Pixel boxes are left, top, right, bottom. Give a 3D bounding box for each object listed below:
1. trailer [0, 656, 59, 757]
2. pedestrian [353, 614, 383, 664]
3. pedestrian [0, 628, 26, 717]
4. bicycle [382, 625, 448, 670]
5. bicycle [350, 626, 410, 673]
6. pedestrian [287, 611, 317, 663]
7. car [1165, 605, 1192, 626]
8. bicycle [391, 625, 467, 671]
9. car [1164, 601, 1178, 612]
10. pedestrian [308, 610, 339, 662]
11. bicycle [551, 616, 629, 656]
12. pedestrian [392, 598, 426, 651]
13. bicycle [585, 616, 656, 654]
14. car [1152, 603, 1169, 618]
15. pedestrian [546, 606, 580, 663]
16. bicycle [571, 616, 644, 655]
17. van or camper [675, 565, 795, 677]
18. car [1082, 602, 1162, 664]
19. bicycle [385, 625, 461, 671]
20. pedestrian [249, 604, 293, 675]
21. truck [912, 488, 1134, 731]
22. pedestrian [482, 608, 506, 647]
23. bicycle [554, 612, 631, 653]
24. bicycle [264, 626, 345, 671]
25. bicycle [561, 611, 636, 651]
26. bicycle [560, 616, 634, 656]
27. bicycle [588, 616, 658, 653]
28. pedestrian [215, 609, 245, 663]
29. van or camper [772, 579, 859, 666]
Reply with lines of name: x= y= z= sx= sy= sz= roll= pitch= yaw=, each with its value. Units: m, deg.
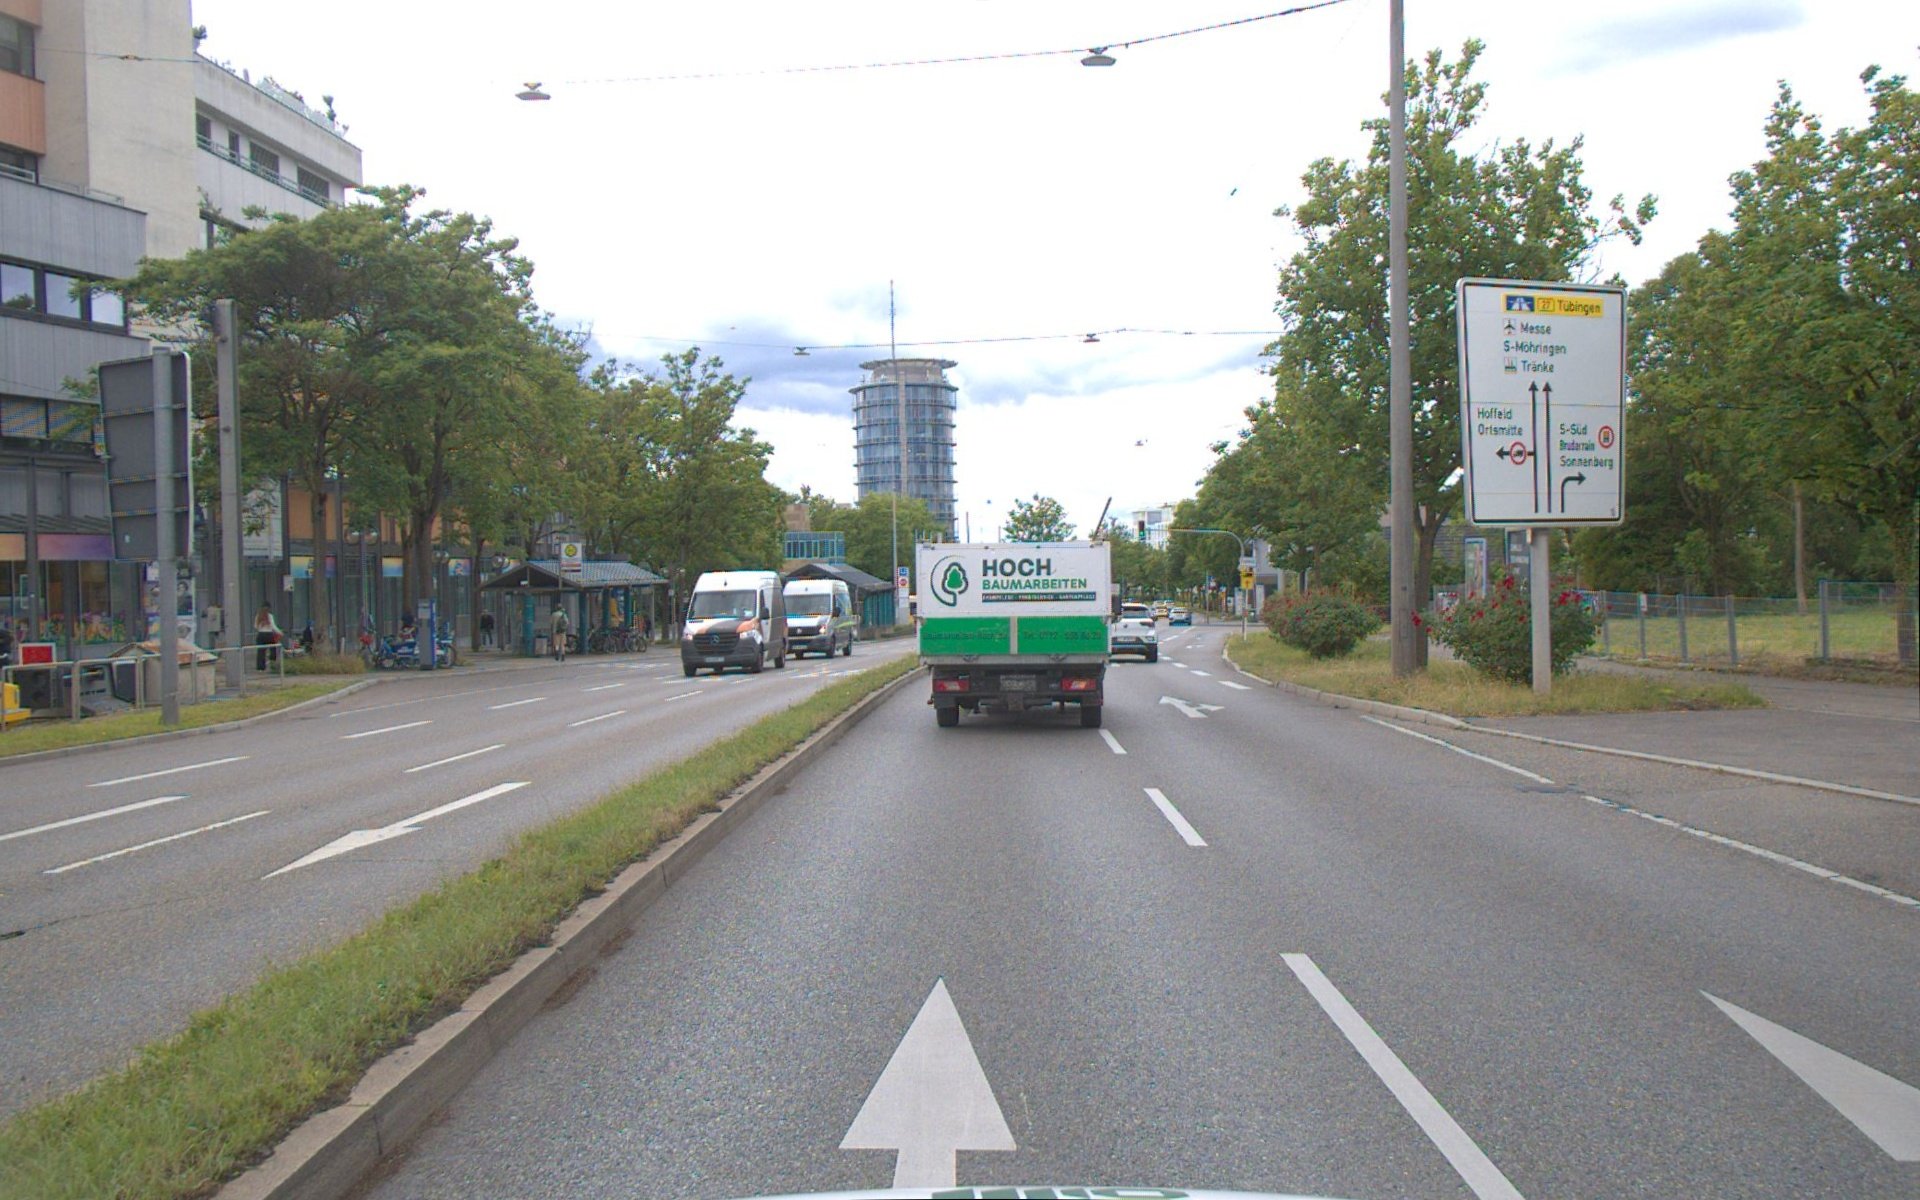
trailer: x=-14.635 y=1.565 z=18.614 sx=2.784 sy=1.356 sz=12.120 roll=-2 pitch=0 yaw=-2
pedestrian: x=-21.133 y=1.379 z=59.078 sx=0.754 sy=1.746 sz=0.790 roll=1 pitch=-1 yaw=1
pedestrian: x=-17.580 y=1.324 z=30.257 sx=0.586 sy=1.601 sz=0.620 roll=-2 pitch=0 yaw=-1
bicycle: x=-15.401 y=1.332 z=46.754 sx=0.593 sy=1.181 sz=1.681 roll=-2 pitch=0 yaw=40
bicycle: x=-15.897 y=1.348 z=45.374 sx=0.590 sy=1.181 sz=1.967 roll=-2 pitch=0 yaw=13
pedestrian: x=-20.760 y=1.164 z=52.193 sx=0.619 sy=1.628 sz=0.623 roll=0 pitch=0 yaw=6
car: x=17.421 y=1.241 z=132.031 sx=1.951 sy=1.579 sz=4.003 roll=-2 pitch=-1 yaw=6
bicycle: x=-14.364 y=1.287 z=44.775 sx=0.594 sy=1.181 sz=1.953 roll=1 pitch=0 yaw=41
car: x=31.688 y=1.000 z=248.522 sx=1.951 sy=1.579 sz=4.003 roll=-2 pitch=-1 yaw=6
pedestrian: x=-19.997 y=1.140 z=51.980 sx=0.652 sy=1.611 sz=0.707 roll=1 pitch=-1 yaw=4
bicycle: x=-14.565 y=1.412 z=65.205 sx=2.839 sy=1.533 sz=0.972 roll=0 pitch=0 yaw=1
pedestrian: x=-18.514 y=0.827 z=55.576 sx=0.758 sy=1.746 sz=0.786 roll=0 pitch=-1 yaw=27
bicycle: x=-14.462 y=1.482 z=70.454 sx=2.839 sy=1.533 sz=0.700 roll=-2 pitch=-1 yaw=1
car: x=23.081 y=1.224 z=190.502 sx=1.951 sy=1.579 sz=4.003 roll=-2 pitch=-1 yaw=6
pedestrian: x=-13.123 y=1.151 z=54.708 sx=0.689 sy=1.854 sz=1.214 roll=0 pitch=-1 yaw=6
bicycle: x=-14.646 y=1.482 z=68.747 sx=2.839 sy=1.533 sz=0.806 roll=-2 pitch=-1 yaw=1
van or camper: x=-5.802 y=0.512 z=43.495 sx=1.952 sy=2.643 sz=6.118 roll=-3 pitch=0 yaw=2
car: x=4.439 y=0.874 z=45.918 sx=1.829 sy=1.531 sz=4.774 roll=-1 pitch=1 yaw=1
bicycle: x=-14.773 y=1.315 z=45.547 sx=0.594 sy=1.181 sz=1.954 roll=-2 pitch=0 yaw=41
pedestrian: x=-17.391 y=0.990 z=41.755 sx=0.759 sy=1.743 sz=0.707 roll=1 pitch=-1 yaw=3
truck: x=0.931 y=0.072 z=21.377 sx=2.419 sy=2.657 sz=6.551 roll=0 pitch=1 yaw=4
pedestrian: x=-21.152 y=1.250 z=75.096 sx=0.754 sy=1.746 sz=0.822 roll=1 pitch=-1 yaw=4
bicycle: x=-14.732 y=1.286 z=66.274 sx=2.839 sy=1.533 sz=0.891 roll=-2 pitch=0 yaw=1
bicycle: x=-18.403 y=1.353 z=46.471 sx=2.001 sy=1.181 sz=0.664 roll=-2 pitch=0 yaw=-42
bicycle: x=-14.693 y=1.272 z=67.322 sx=2.838 sy=1.533 sz=0.812 roll=-2 pitch=-1 yaw=3
bicycle: x=-14.982 y=1.480 z=68.265 sx=2.839 sy=1.533 sz=0.806 roll=-2 pitch=-1 yaw=1
bicycle: x=-14.521 y=1.481 z=71.296 sx=2.839 sy=1.533 sz=0.599 roll=-2 pitch=-1 yaw=1
pedestrian: x=-22.273 y=1.104 z=50.481 sx=0.623 sy=1.628 sz=0.619 roll=0 pitch=-1 yaw=40
van or camper: x=-4.781 y=0.720 z=55.559 sx=1.990 sy=2.643 sz=6.118 roll=-3 pitch=0 yaw=2
